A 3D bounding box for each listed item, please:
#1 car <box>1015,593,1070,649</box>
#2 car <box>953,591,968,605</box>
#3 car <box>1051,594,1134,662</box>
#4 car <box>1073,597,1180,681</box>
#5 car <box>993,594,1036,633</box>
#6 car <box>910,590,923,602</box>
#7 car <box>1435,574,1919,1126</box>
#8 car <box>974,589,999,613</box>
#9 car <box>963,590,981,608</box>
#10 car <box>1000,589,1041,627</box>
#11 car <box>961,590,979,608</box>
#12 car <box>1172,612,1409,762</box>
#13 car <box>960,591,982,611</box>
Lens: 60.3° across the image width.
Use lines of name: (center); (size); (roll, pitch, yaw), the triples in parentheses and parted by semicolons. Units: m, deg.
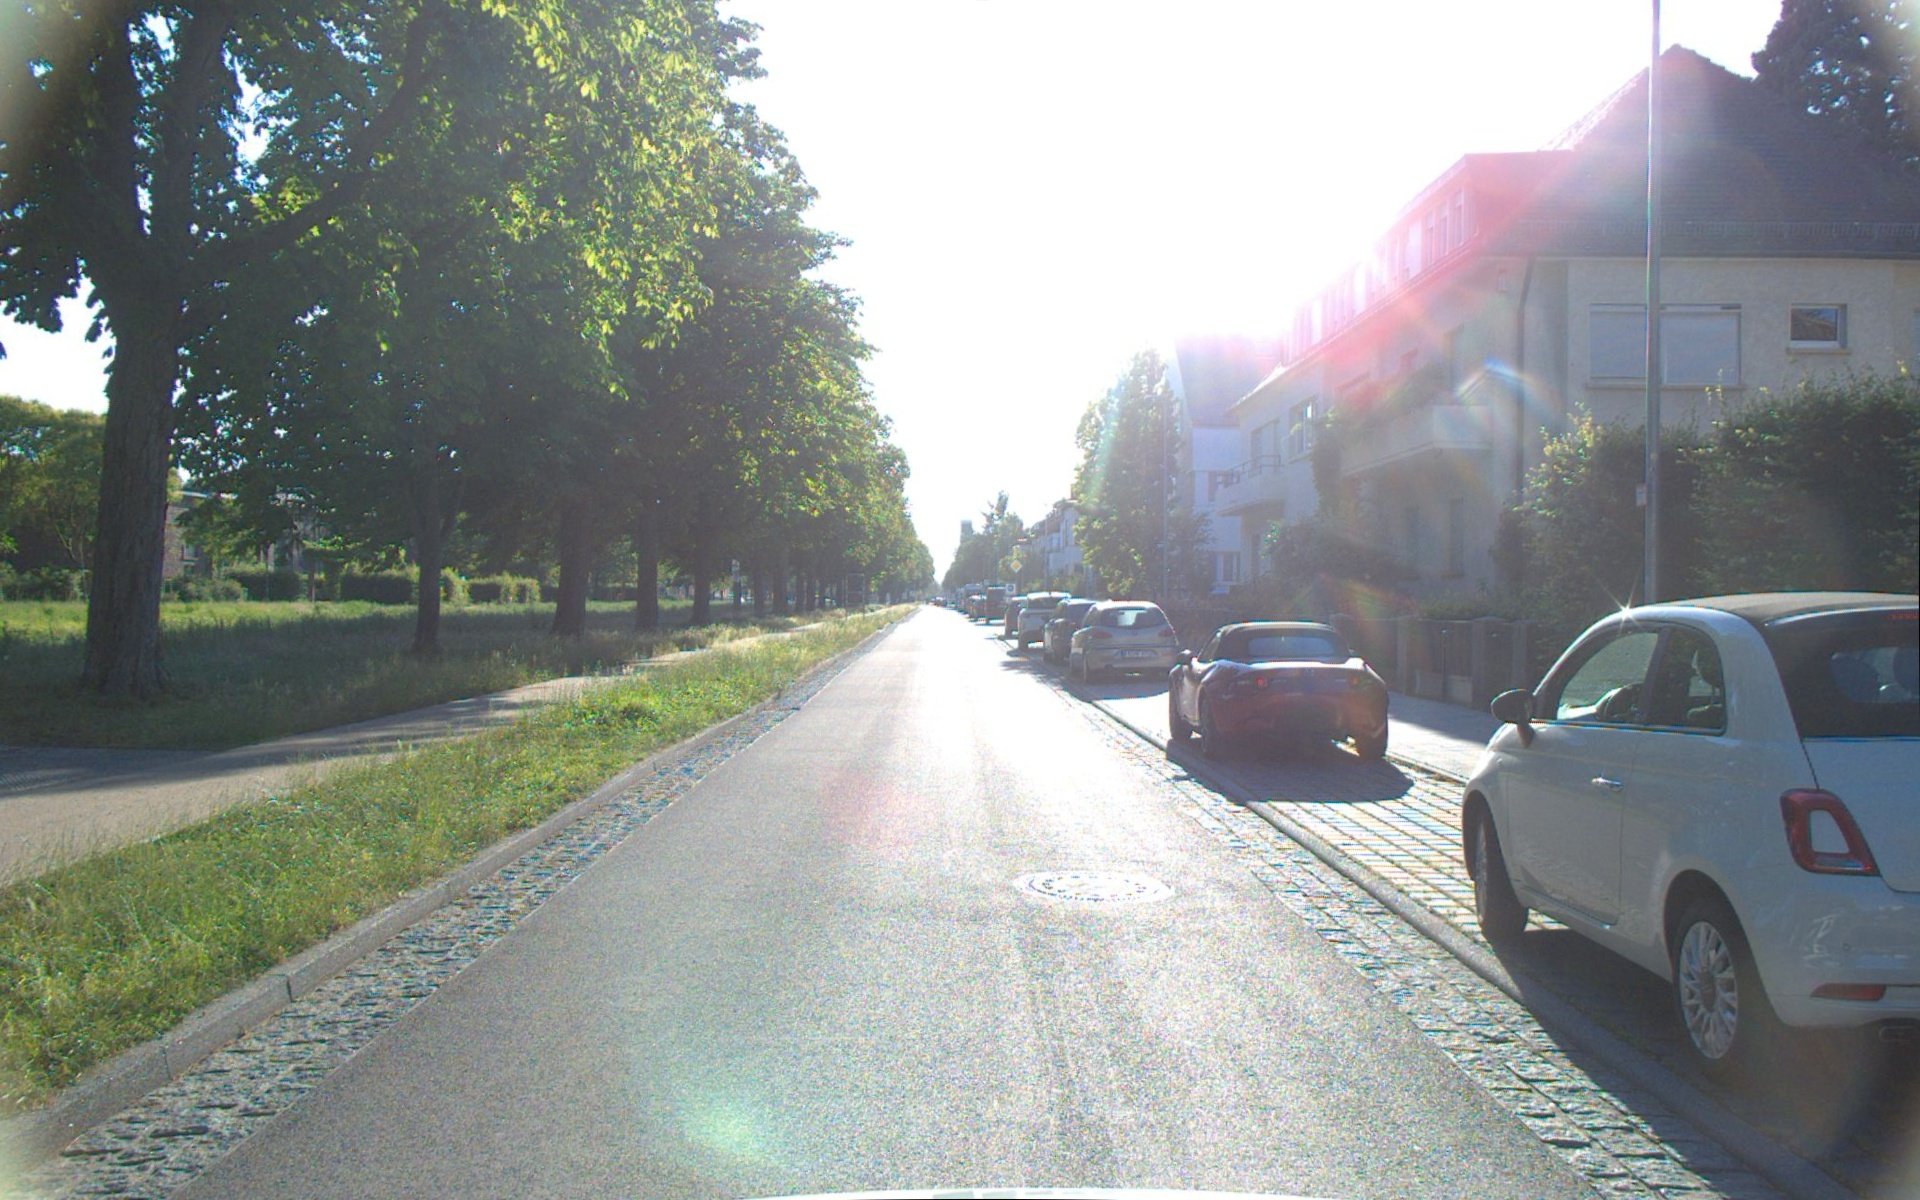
car: (2.402, 0.584, 48.494); (1.467, 1.594, 3.266); (0, 0, 0)
car: (0.010, -0.253, 185.352); (1.618, 1.568, 3.266); (1, 0, -1)
car: (2.923, 0.593, 36.988); (1.618, 1.421, 3.266); (0, 0, 0)
car: (2.966, 0.674, 30.031); (1.618, 1.421, 3.266); (0, 0, 0)
car: (2.088, 0.516, 64.160); (1.561, 1.459, 3.266); (0, 0, 0)
car: (-5.792, -0.527, 220.337); (1.618, 1.568, 3.266); (1, 0, -1)
car: (3.140, 0.684, 6.417); (1.560, 1.536, 3.591); (0, 0, 0)
car: (1.767, 0.055, 110.416); (1.618, 1.568, 3.266); (1, 0, 0)
car: (1.106, -0.071, 149.402); (1.618, 1.568, 3.266); (1, 0, 0)
car: (2.565, 0.314, 70.426); (1.618, 1.568, 3.266); (0, 0, 0)
car: (0.941, -0.099, 154.715); (1.618, 1.568, 3.266); (1, 0, 0)
car: (3.143, 0.784, 16.356); (1.658, 1.270, 3.497); (0, 0, 0)
car: (0.856, 0.073, 128.769); (1.618, 1.568, 3.266); (1, 0, 0)
